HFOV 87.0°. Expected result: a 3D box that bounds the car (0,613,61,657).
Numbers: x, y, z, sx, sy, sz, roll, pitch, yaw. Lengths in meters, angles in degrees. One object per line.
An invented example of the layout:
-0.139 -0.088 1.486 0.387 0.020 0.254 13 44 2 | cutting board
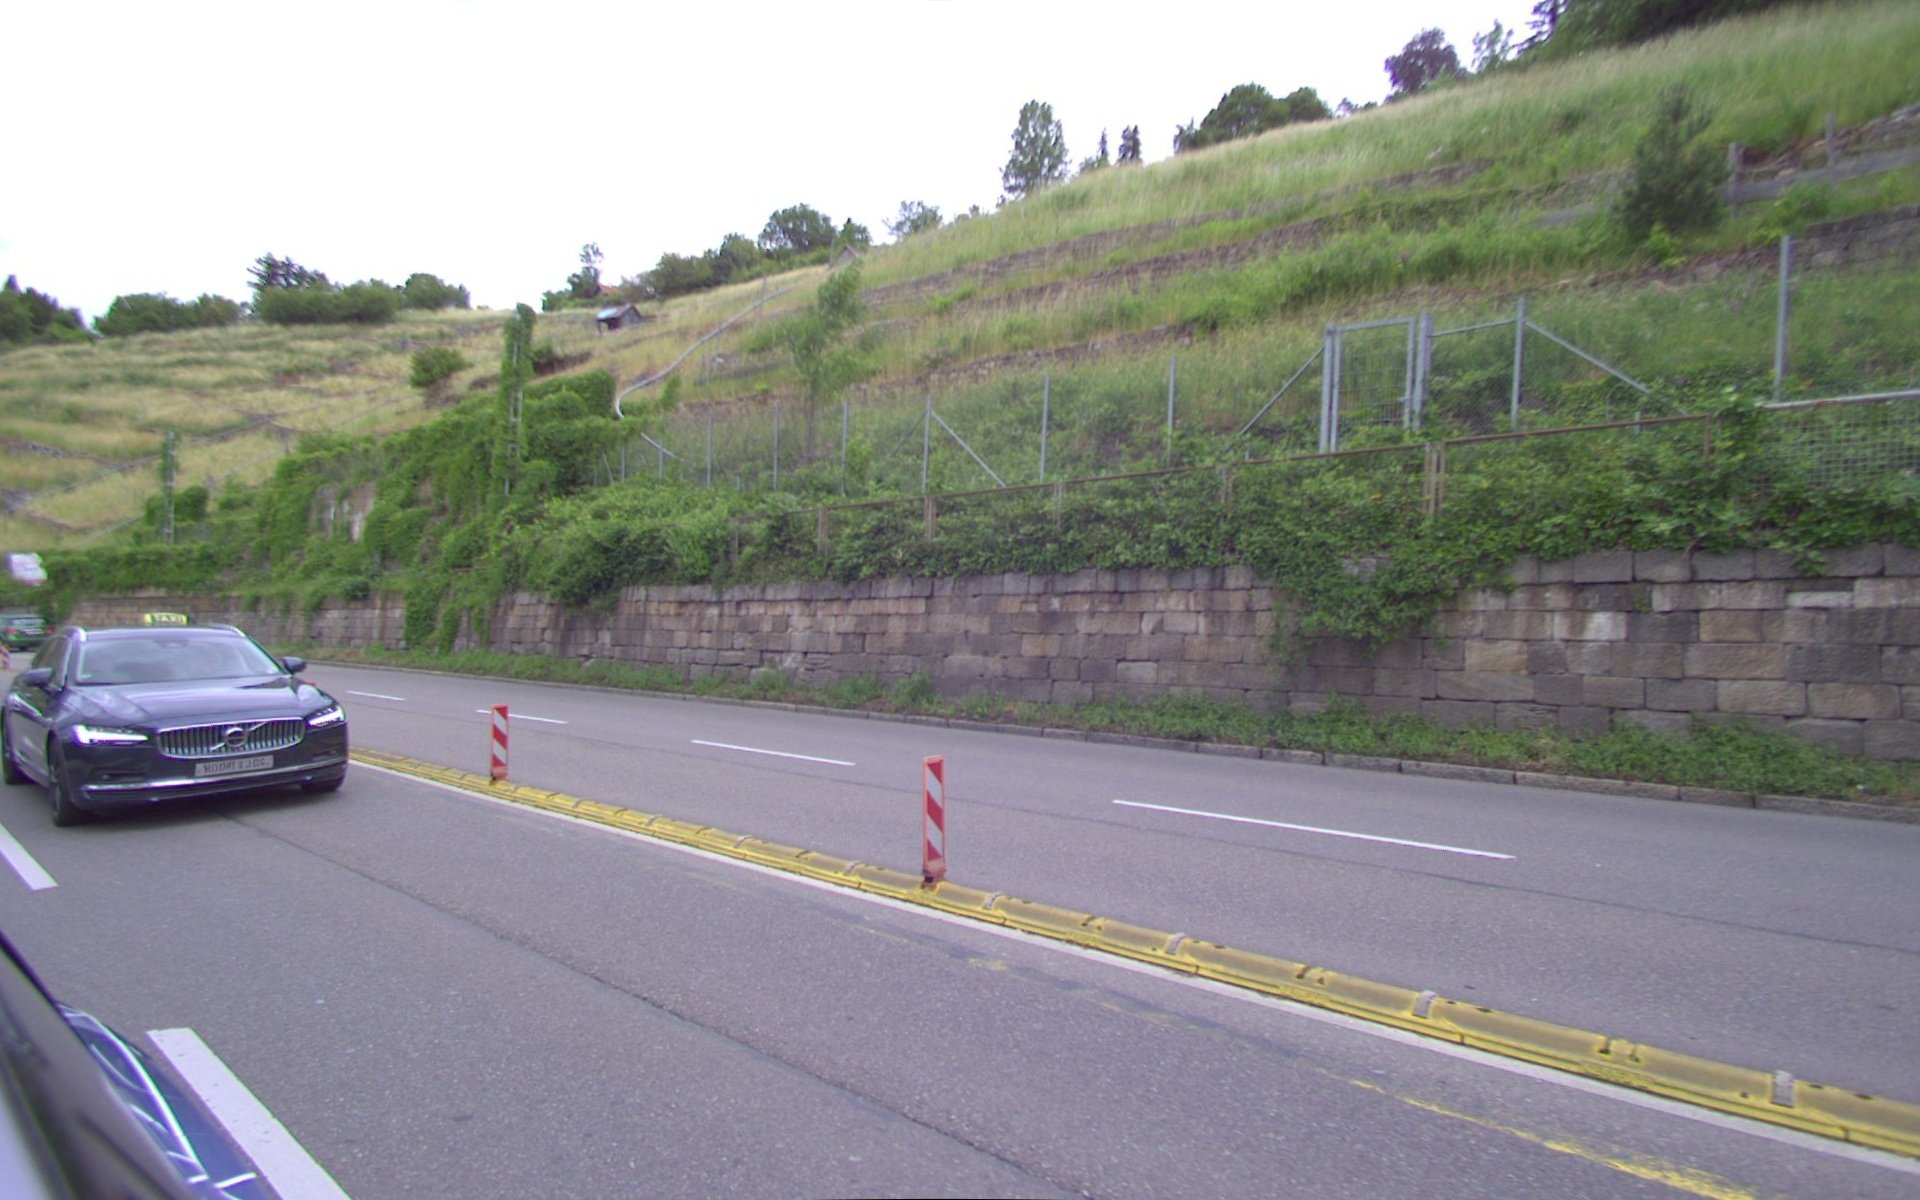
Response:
-39.469 1.455 42.149 3.984 1.705 1.895 -1 0 30 | car

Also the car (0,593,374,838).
-7.194 0.794 9.019 5.025 1.588 1.914 -1 0 41 | car
